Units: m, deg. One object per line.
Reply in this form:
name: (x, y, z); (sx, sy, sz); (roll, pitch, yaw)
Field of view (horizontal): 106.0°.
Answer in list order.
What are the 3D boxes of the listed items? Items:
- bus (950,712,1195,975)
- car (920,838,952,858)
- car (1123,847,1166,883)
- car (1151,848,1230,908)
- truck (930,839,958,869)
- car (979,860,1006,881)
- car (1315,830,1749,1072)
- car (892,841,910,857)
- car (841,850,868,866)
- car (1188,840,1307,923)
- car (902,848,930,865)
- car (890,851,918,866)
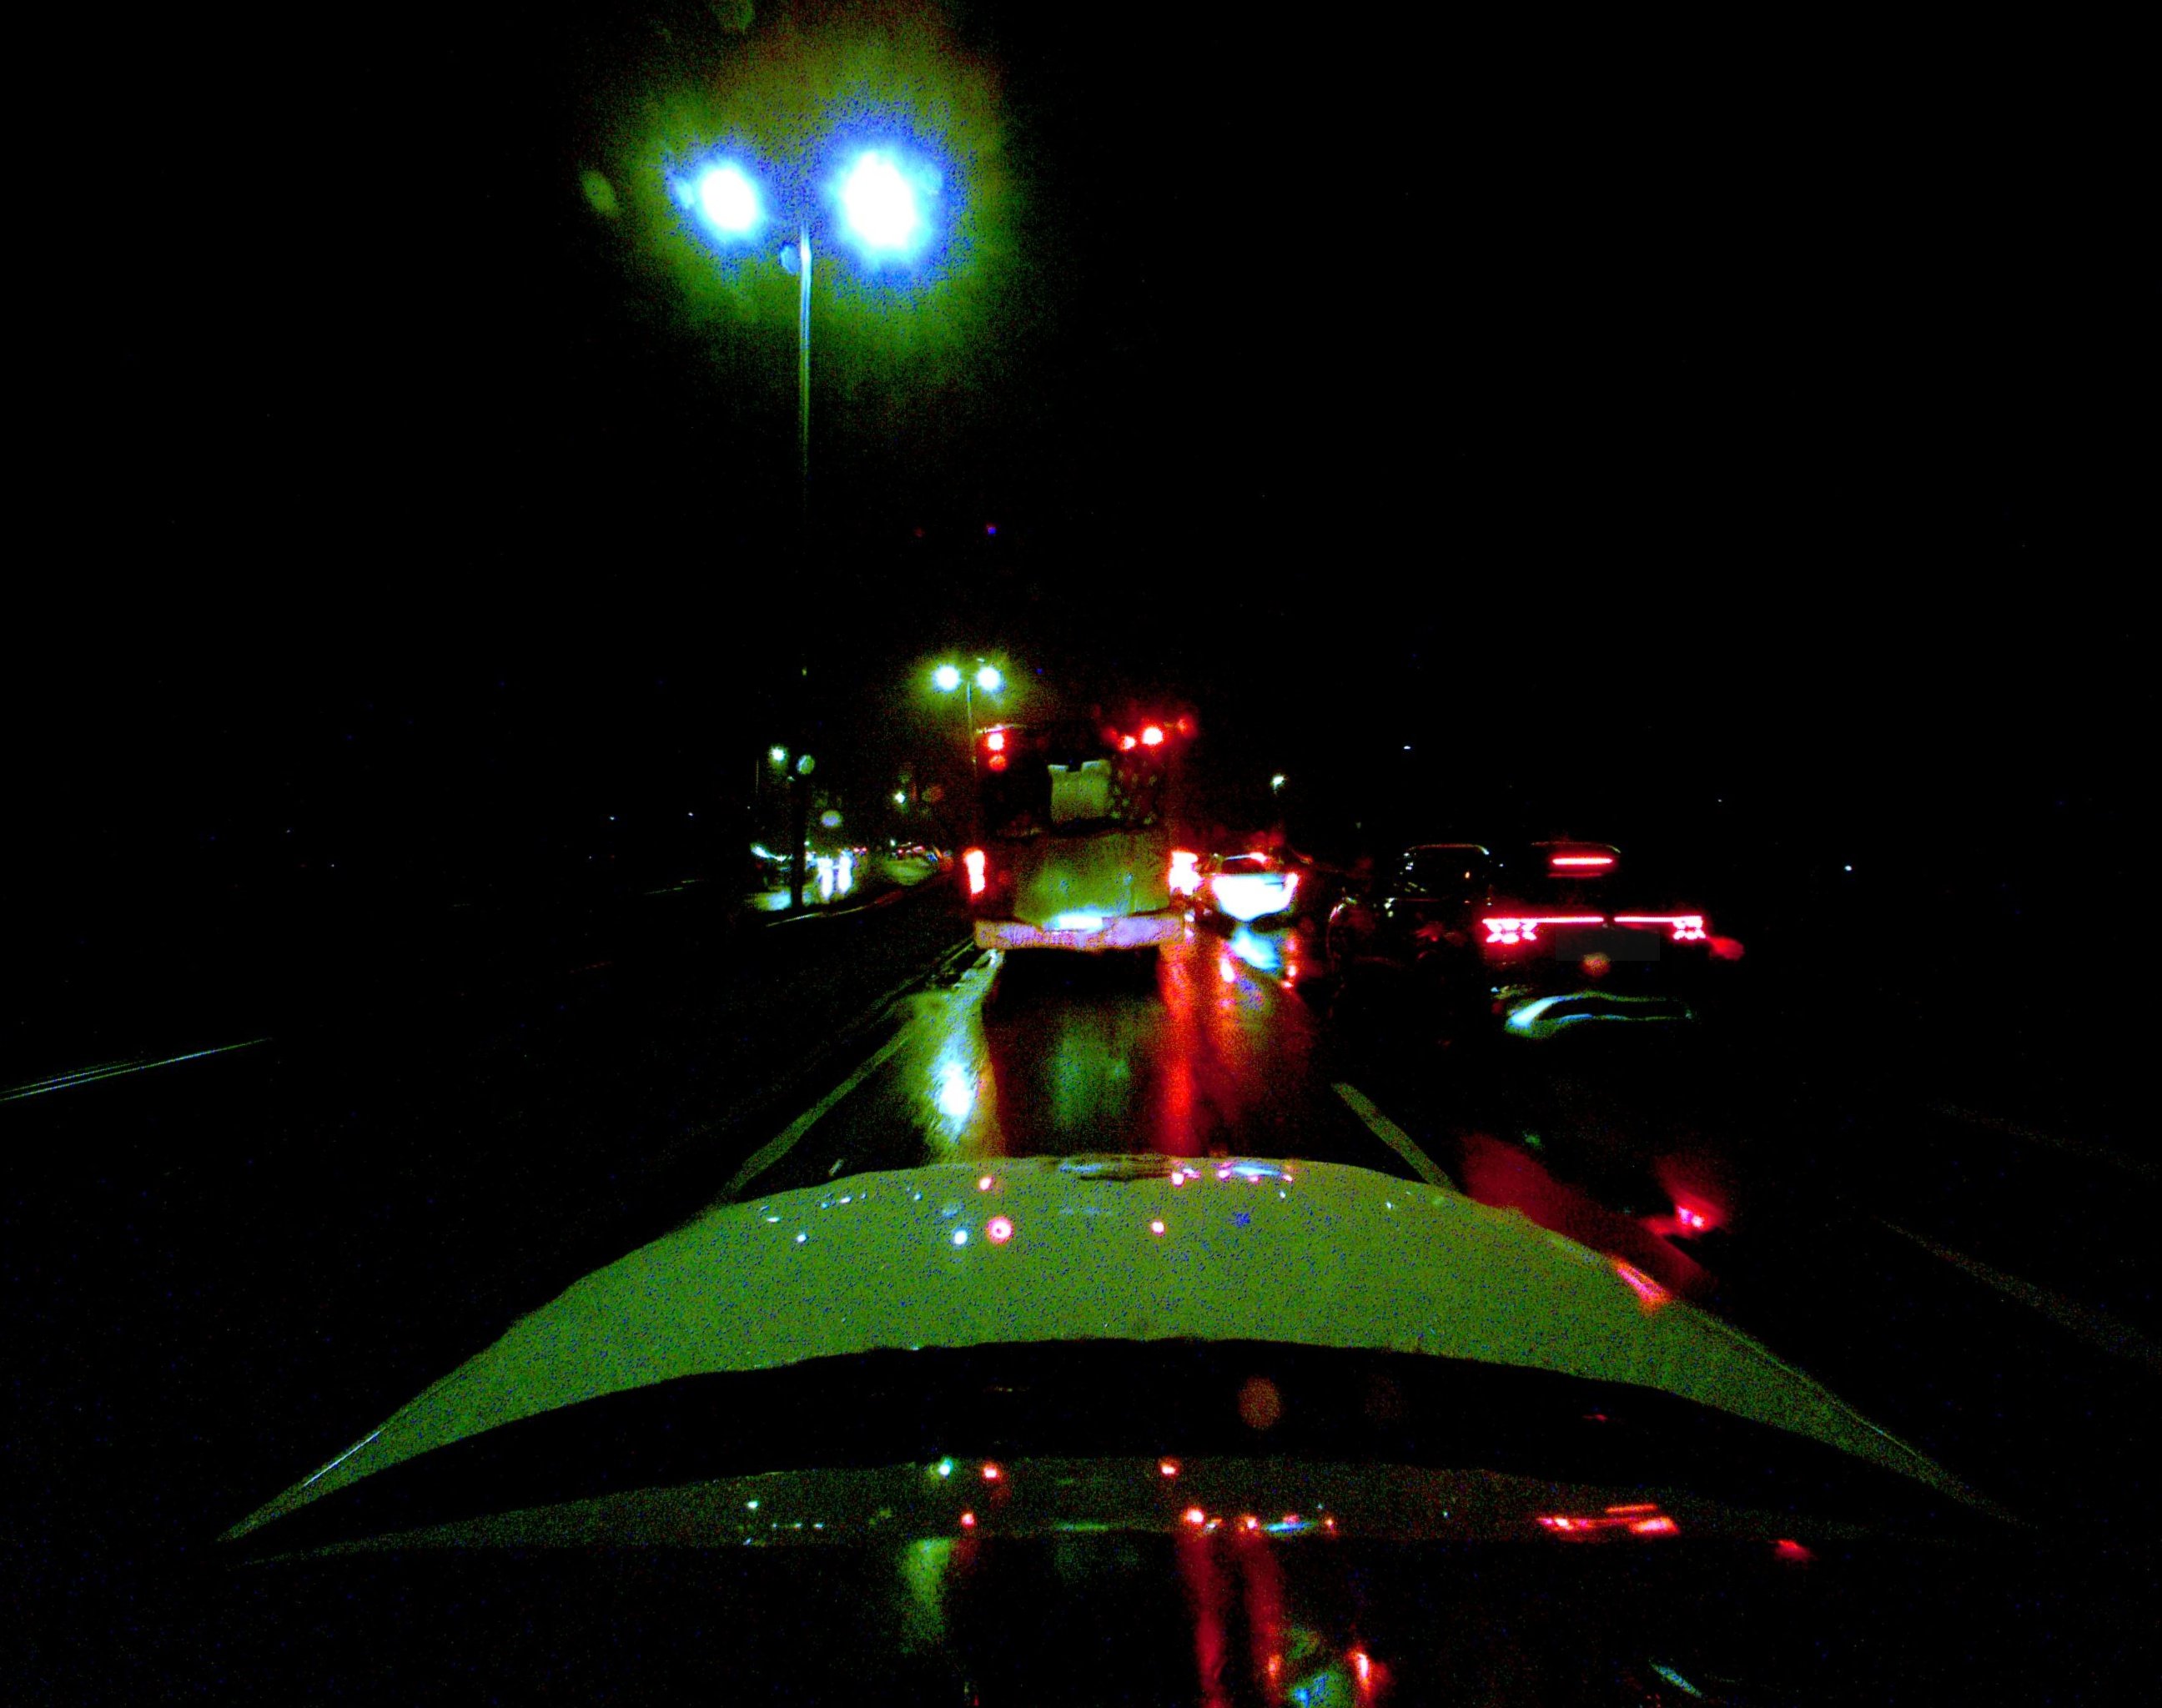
bus: (0.009, -0.115, 13.709); (2.805, 3.024, 8.689); (0, 0, 1)
car: (-15.163, -0.571, 84.926); (2.007, 2.014, 3.960); (1, -1, -31)
car: (2.875, 0.492, 37.667); (1.773, 1.543, 3.876); (0, 0, 1)
car: (3.129, 0.657, 23.952); (1.814, 1.590, 3.776); (-1, 0, 0)
truck: (-12.469, -0.043, 73.830); (1.860, 2.392, 4.753); (-2, 3, -17)
car: (-6.948, 1.282, 64.096); (1.991, 1.486, 3.992); (-1, 0, -6)
car: (3.472, 0.631, 7.164); (1.734, 1.565, 3.776); (0, 0, 0)
car: (-23.534, -0.581, 106.443); (2.121, 2.014, 3.986); (1, -1, -10)
car: (-29.307, 0.508, 105.404); (2.227, 2.013, 3.958); (-1, 0, -33)
car: (3.505, 0.534, 17.826); (1.814, 1.590, 3.776); (-1, 0, 0)
car: (-19.935, 0.346, 98.199); (2.007, 2.013, 3.959); (-1, 0, -33)
car: (-19.953, 0.475, 91.771); (1.764, 1.631, 3.584); (1, -1, -35)
